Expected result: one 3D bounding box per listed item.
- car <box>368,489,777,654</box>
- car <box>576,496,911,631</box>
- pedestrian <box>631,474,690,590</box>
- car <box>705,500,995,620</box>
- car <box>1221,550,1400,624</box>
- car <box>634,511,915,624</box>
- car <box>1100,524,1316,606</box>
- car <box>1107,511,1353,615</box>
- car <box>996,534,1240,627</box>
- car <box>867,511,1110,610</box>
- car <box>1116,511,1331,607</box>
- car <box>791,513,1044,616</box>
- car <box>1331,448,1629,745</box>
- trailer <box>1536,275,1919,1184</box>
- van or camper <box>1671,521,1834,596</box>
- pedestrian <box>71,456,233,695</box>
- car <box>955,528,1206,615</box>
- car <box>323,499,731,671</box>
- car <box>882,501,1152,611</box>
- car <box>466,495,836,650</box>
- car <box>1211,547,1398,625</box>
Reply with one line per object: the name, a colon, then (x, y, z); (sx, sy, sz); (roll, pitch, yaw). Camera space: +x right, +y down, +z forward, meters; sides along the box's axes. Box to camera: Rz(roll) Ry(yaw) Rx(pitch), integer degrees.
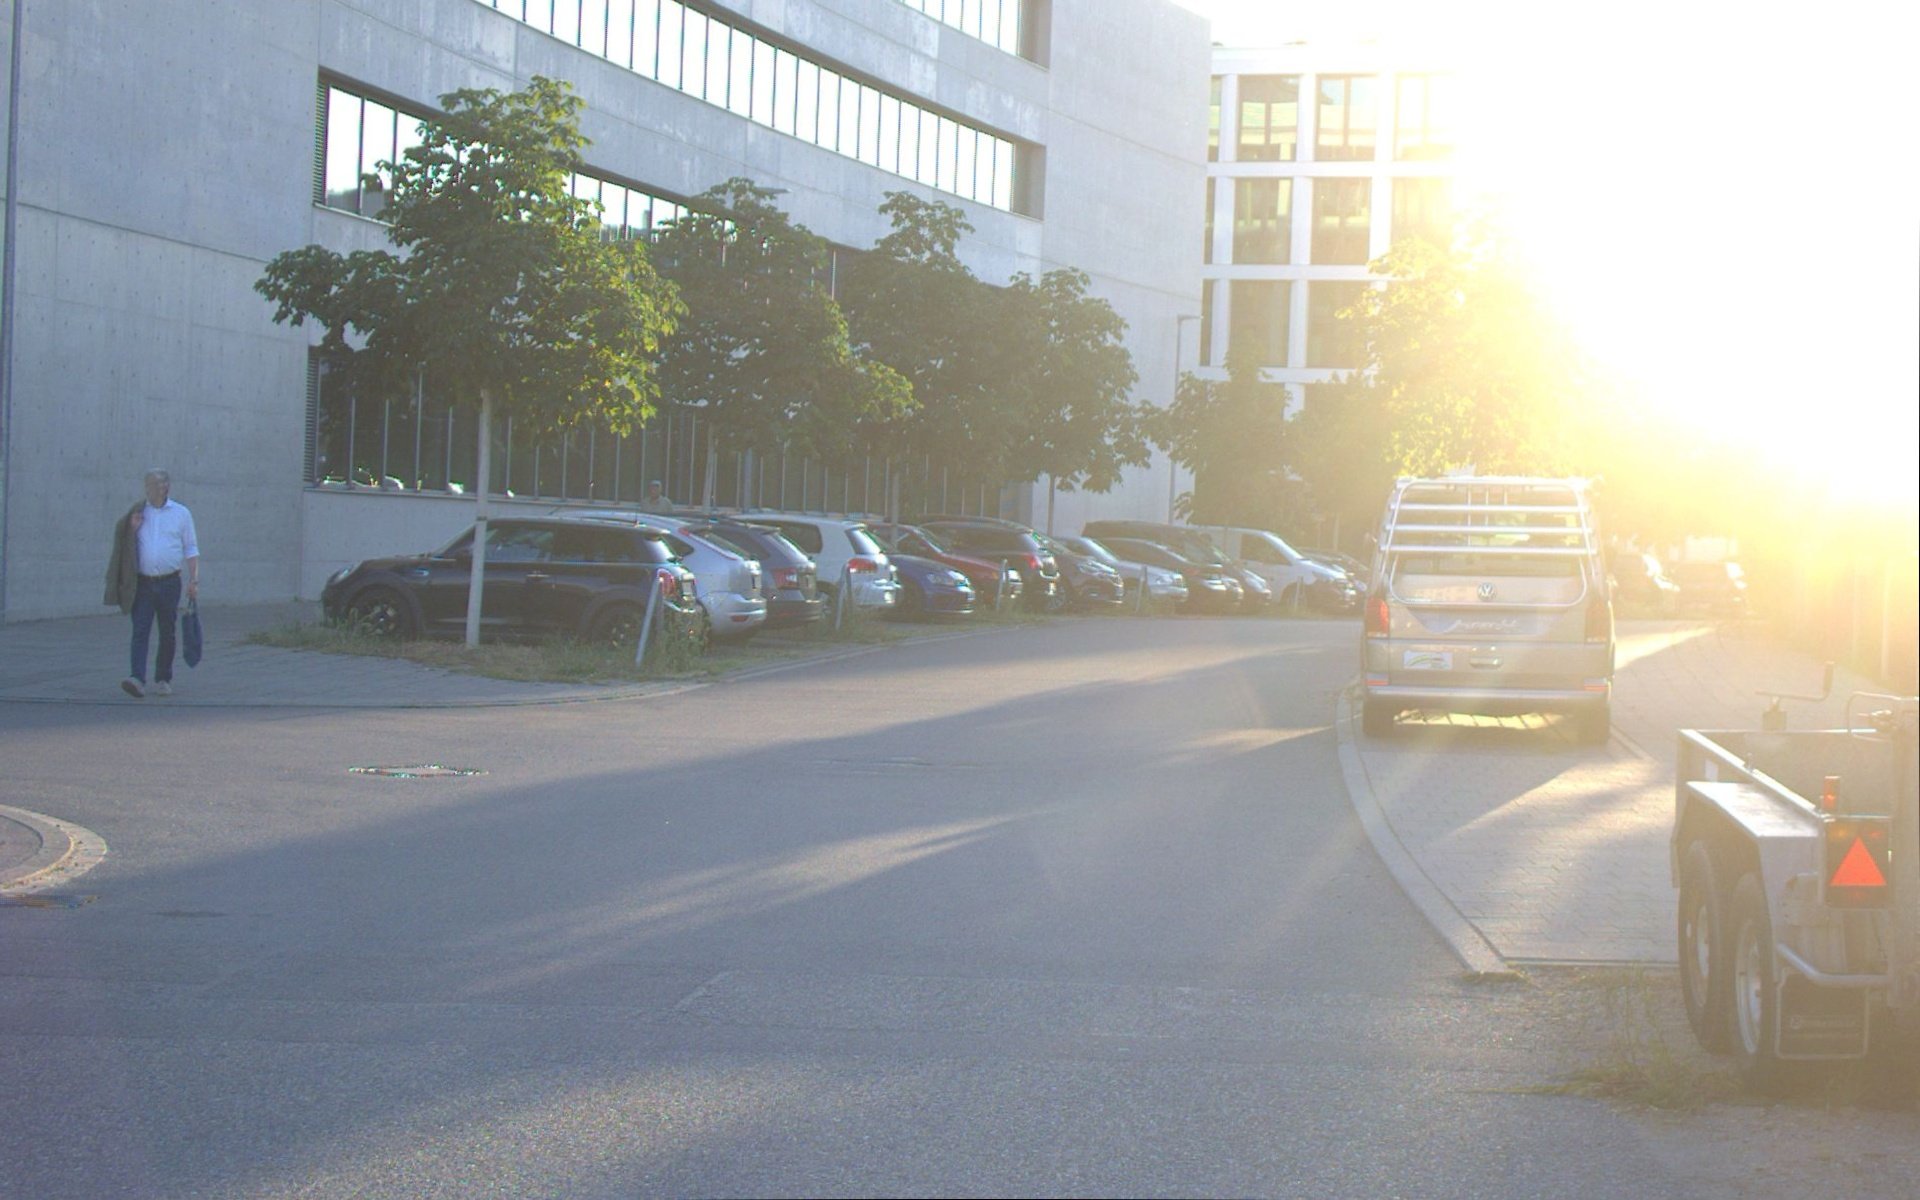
car: (-4.215, -0.332, 37.746); (4.087, 1.523, 1.846); (4, 1, 6)
car: (-2.813, -0.490, 44.948); (3.989, 1.506, 1.759); (3, 2, 11)
pedestrian: (-4.728, -1.072, 54.256); (0.646, 1.778, 0.725); (3, 1, 12)
car: (-1.599, -0.600, 50.440); (3.872, 1.506, 1.759); (3, 2, 13)
car: (8.411, -0.324, 82.423); (3.891, 1.483, 1.649); (4, 1, 20)
car: (-2.592, -0.473, 48.414); (3.634, 1.357, 1.685); (3, 2, 8)
car: (5.230, -0.734, 72.370); (4.148, 1.399, 1.723); (5, 1, 18)
car: (6.084, -0.824, 77.496); (5.081, 1.940, 1.887); (5, 1, 19)
car: (3.132, -0.385, 68.077); (4.403, 1.494, 1.761); (5, 1, 22)
car: (0.488, -0.660, 57.618); (3.705, 1.452, 1.678); (3, 1, 15)
car: (5.718, -0.886, 74.503); (4.251, 1.736, 1.723); (5, 1, 18)
car: (-0.668, -0.572, 55.318); (3.704, 1.452, 1.710); (3, 1, 13)
car: (4.111, -0.079, 27.215); (2.066, 2.087, 4.871); (2, 1, 9)
trailer: (3.273, 0.278, 10.929); (2.064, 2.204, 5.223); (1, 1, 1)
van or camper: (29.269, -1.545, 127.026); (5.461, 2.475, 1.773); (4, 2, 27)
pedestrian: (-6.426, -0.203, 27.350); (0.856, 1.844, 0.900); (3, 2, 43)
car: (2.314, -0.563, 65.770); (4.438, 1.459, 1.761); (3, 2, 18)
car: (-4.368, -0.177, 34.963); (3.735, 1.477, 1.769); (3, 2, 6)
car: (1.007, -0.766, 59.801); (4.312, 1.690, 1.895); (3, 1, 15)
car: (-3.569, -0.338, 40.021); (3.999, 1.507, 1.585); (4, 3, 6)
car: (8.056, -0.323, 80.321); (3.991, 1.517, 1.604); (5, 1, 18)
